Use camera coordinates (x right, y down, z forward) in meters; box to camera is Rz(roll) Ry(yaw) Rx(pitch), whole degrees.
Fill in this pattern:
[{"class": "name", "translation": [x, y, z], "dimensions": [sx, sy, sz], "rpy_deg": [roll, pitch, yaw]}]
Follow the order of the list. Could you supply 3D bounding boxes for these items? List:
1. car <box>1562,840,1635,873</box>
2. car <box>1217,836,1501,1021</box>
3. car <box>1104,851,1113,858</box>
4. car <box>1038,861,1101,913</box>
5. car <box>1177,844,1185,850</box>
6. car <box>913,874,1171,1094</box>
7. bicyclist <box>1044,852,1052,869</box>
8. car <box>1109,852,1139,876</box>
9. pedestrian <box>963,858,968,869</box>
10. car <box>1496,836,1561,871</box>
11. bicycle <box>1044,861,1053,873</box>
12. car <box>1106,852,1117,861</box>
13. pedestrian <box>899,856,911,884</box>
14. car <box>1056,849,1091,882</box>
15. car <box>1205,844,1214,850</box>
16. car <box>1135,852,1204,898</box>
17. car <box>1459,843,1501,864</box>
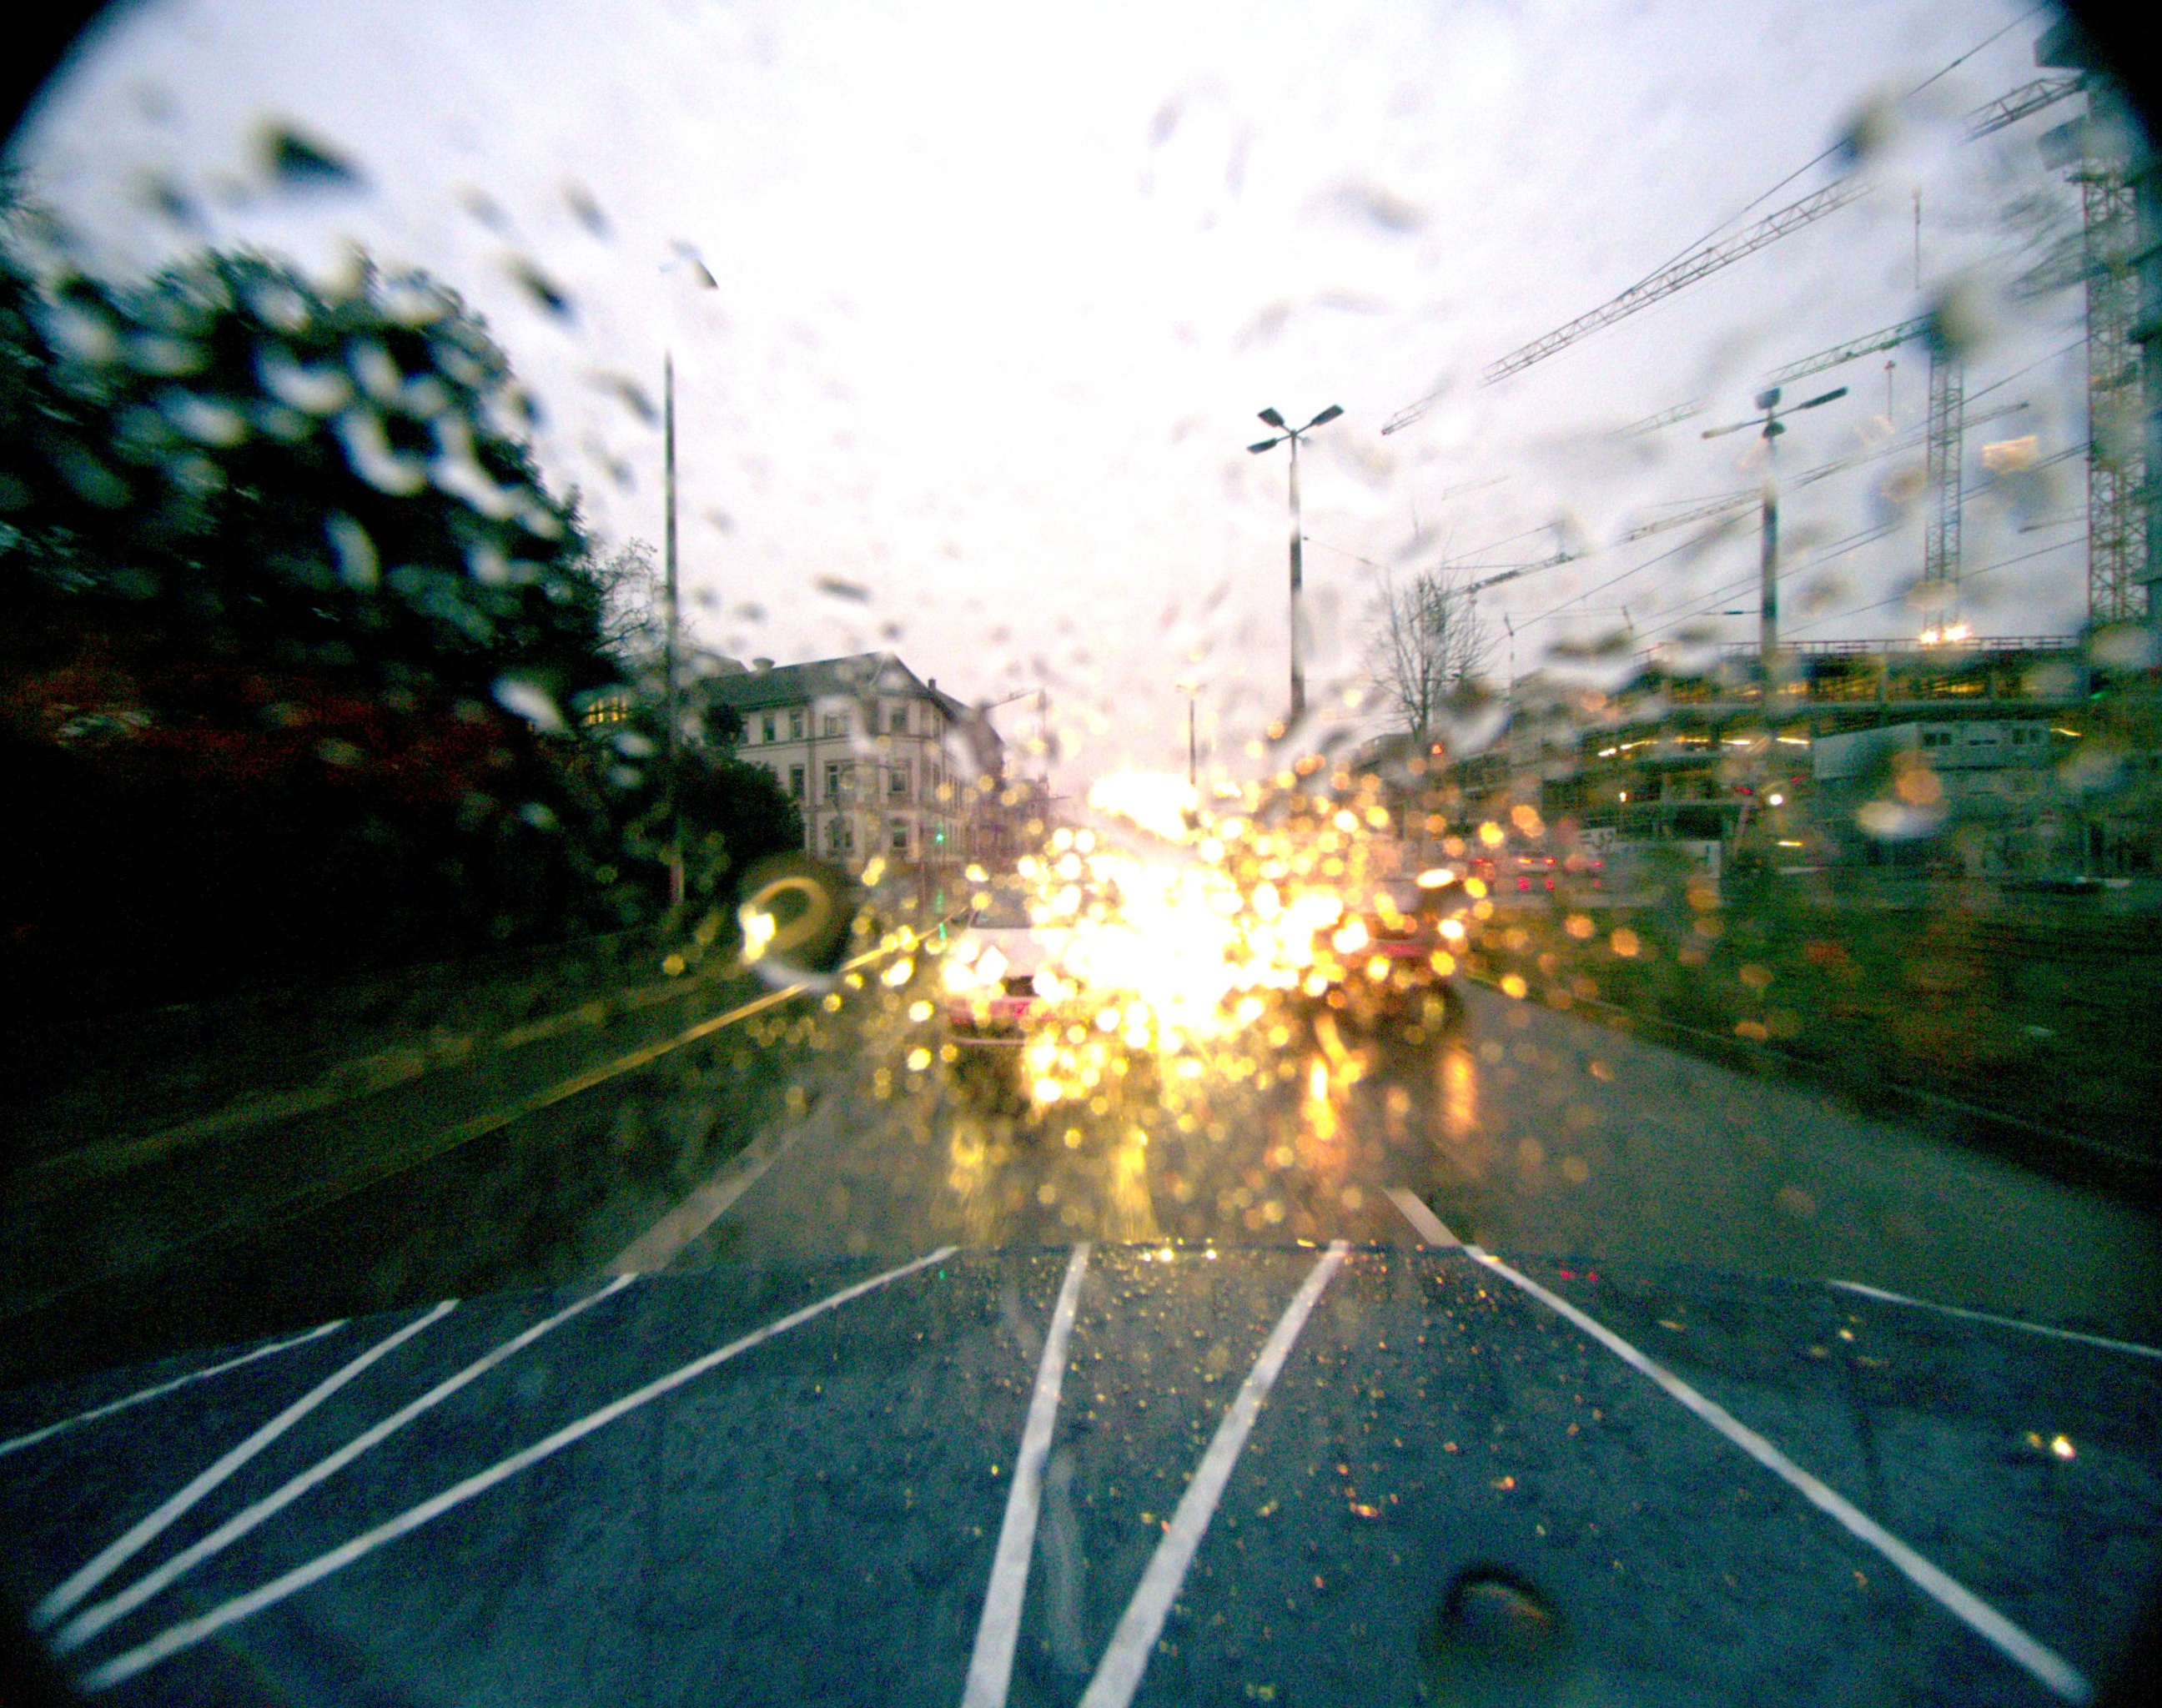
[{"class": "car", "translation": [30.328, 0.116, 44.693], "dimensions": [1.997, 1.838, 4.002], "rpy_deg": [-1, 0, 8]}, {"class": "car", "translation": [3.110, 0.700, 9.634], "dimensions": [1.798, 1.726, 4.536], "rpy_deg": [-2, 1, -2]}, {"class": "car", "translation": [5.687, 0.140, 156.138], "dimensions": [1.767, 1.363, 3.981], "rpy_deg": [-2, 1, 3]}, {"class": "car", "translation": [-0.310, 0.960, 23.349], "dimensions": [1.728, 1.318, 3.981], "rpy_deg": [-2, 1, 0]}, {"class": "car", "translation": [31.311, -2.229, 237.232], "dimensions": [1.998, 2.002, 4.000], "rpy_deg": [-1, 0, 1]}, {"class": "car", "translation": [-0.259, 0.988, 7.436], "dimensions": [1.798, 1.363, 3.981], "rpy_deg": [-2, 1, 0]}, {"class": "bicyclist", "translation": [-2.714, 0.493, 62.745], "dimensions": [0.647, 1.381, 0.890], "rpy_deg": [-1, 1, 0]}, {"class": "car", "translation": [2.711, 0.634, 48.293], "dimensions": [1.767, 1.363, 3.981], "rpy_deg": [-2, 1, 3]}, {"class": "pedestrian", "translation": [-9.364, 0.792, 61.680], "dimensions": [0.326, 0.901, 0.377], "rpy_deg": [-1, 1, 1]}, {"class": "car", "translation": [27.064, -0.046, 46.118], "dimensions": [1.997, 2.002, 4.002], "rpy_deg": [-1, 0, 8]}, {"class": "bicycle", "translation": [-2.716, 1.062, 62.775], "dimensions": [0.647, 0.961, 2.046], "rpy_deg": [-1, 0, 0]}, {"class": "car", "translation": [4.968, 0.327, 123.794], "dimensions": [1.767, 1.363, 3.981], "rpy_deg": [-2, 1, 3]}, {"class": "pedestrian", "translation": [-9.776, 0.880, 42.248], "dimensions": [0.522, 1.501, 0.587], "rpy_deg": [-1, 0, -23]}, {"class": "car", "translation": [-0.379, 0.582, 42.014], "dimensions": [1.781, 1.666, 3.981], "rpy_deg": [-2, 1, 0]}, {"class": "car", "translation": [35.372, -1.918, 209.682], "dimensions": [1.998, 1.812, 4.001], "rpy_deg": [-1, 0, 4]}, {"class": "car", "translation": [3.087, 0.691, 27.472], "dimensions": [1.851, 1.397, 4.613], "rpy_deg": [-2, 1, -1]}, {"class": "car", "translation": [33.187, -0.055, 63.319], "dimensions": [1.911, 1.733, 4.002], "rpy_deg": [-1, 0, 8]}]
